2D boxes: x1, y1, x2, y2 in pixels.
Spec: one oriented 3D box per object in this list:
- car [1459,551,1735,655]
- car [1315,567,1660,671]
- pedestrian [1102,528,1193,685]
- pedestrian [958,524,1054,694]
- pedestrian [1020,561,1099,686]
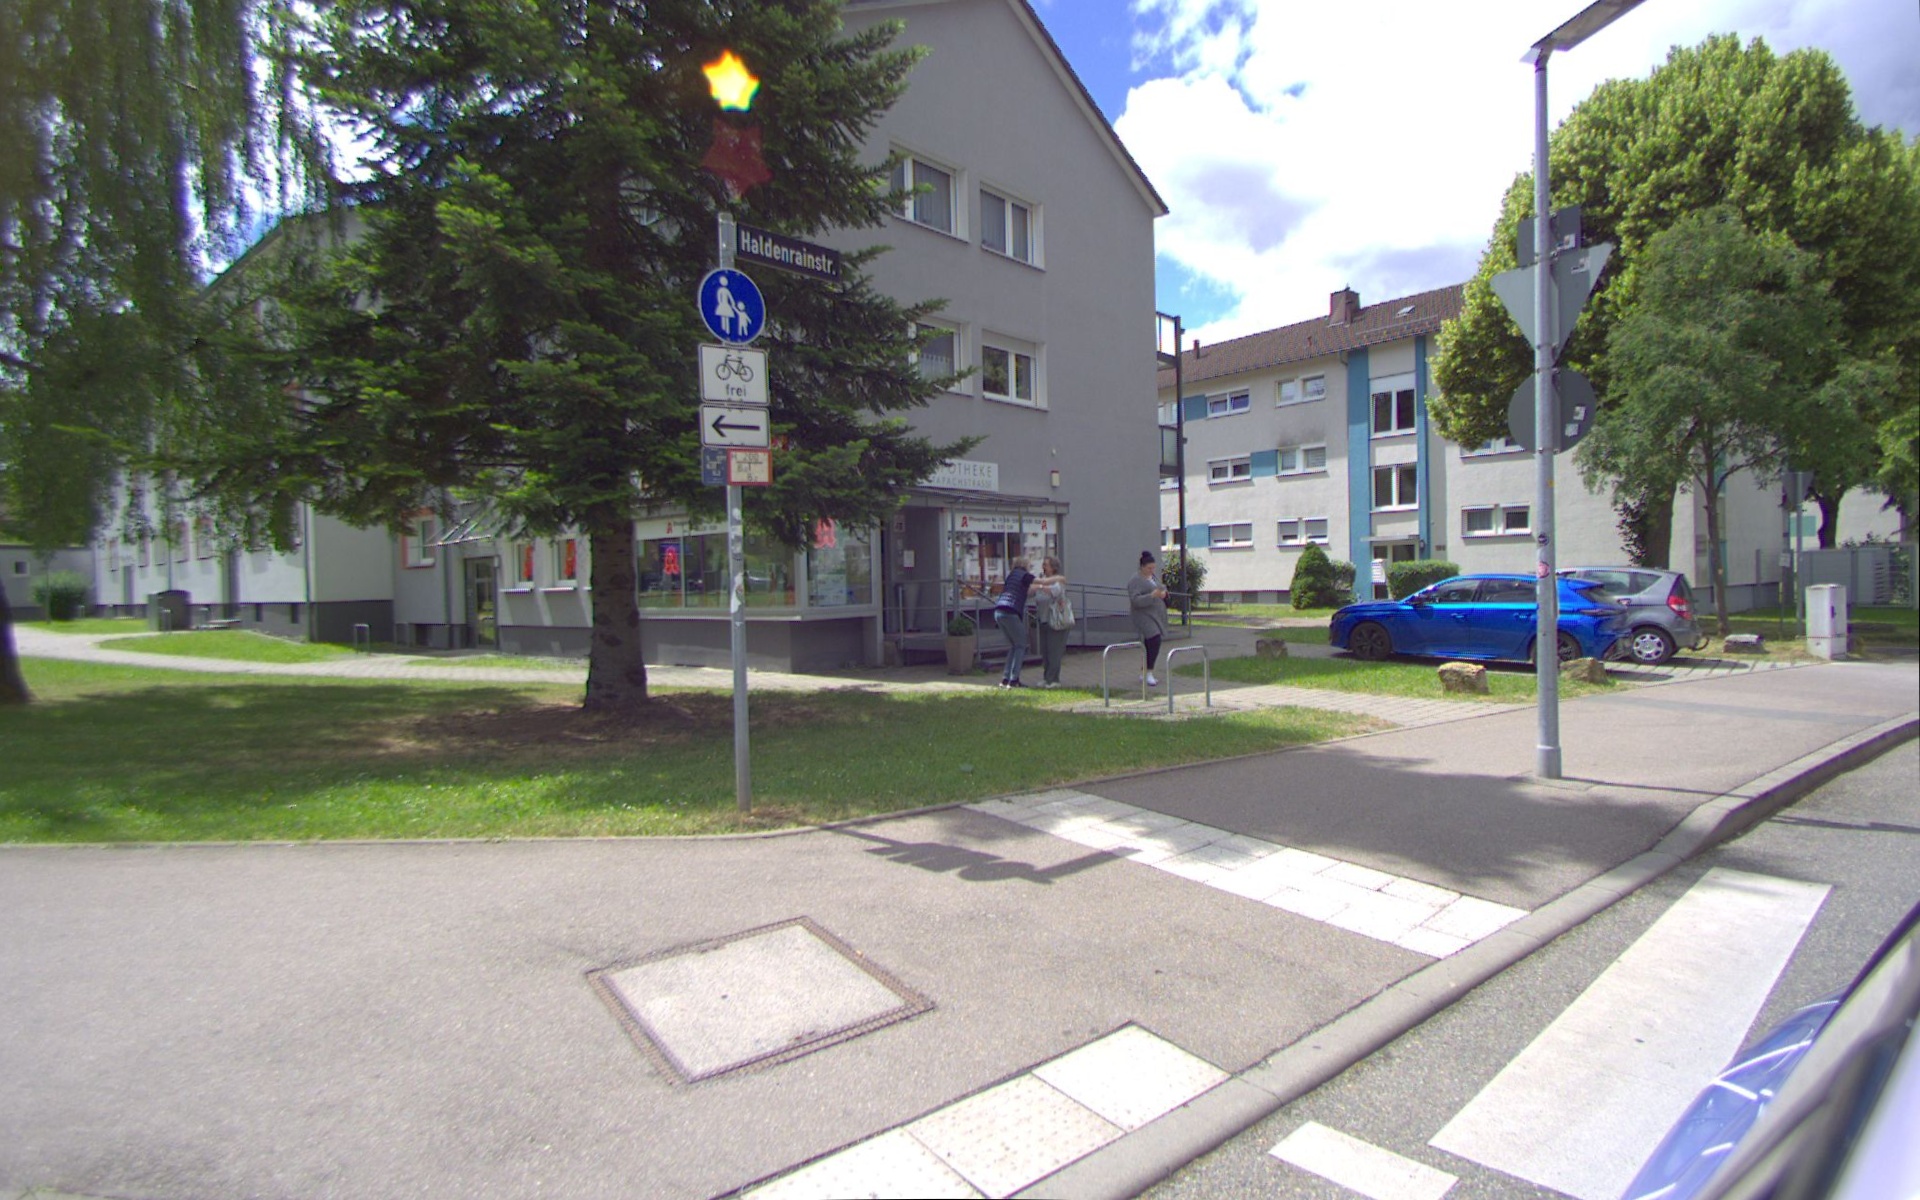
[{"bbox_3d":[11.058,-0.052,17.697,3.730,1.575,2.000,4,4,44],"label":"car"},{"bbox_3d":[8.210,0.186,16.008,4.482,1.258,1.970,4,4,42],"label":"car"},{"bbox_3d":[2.458,0.061,13.325,0.923,1.980,0.844,-1,1,-10],"label":"pedestrian"},{"bbox_3d":[0.585,0.086,12.758,1.029,2.038,0.655,-2,2,-42],"label":"pedestrian"},{"bbox_3d":[1.290,0.279,13.073,0.680,1.548,0.742,-2,2,-44],"label":"pedestrian"}]
